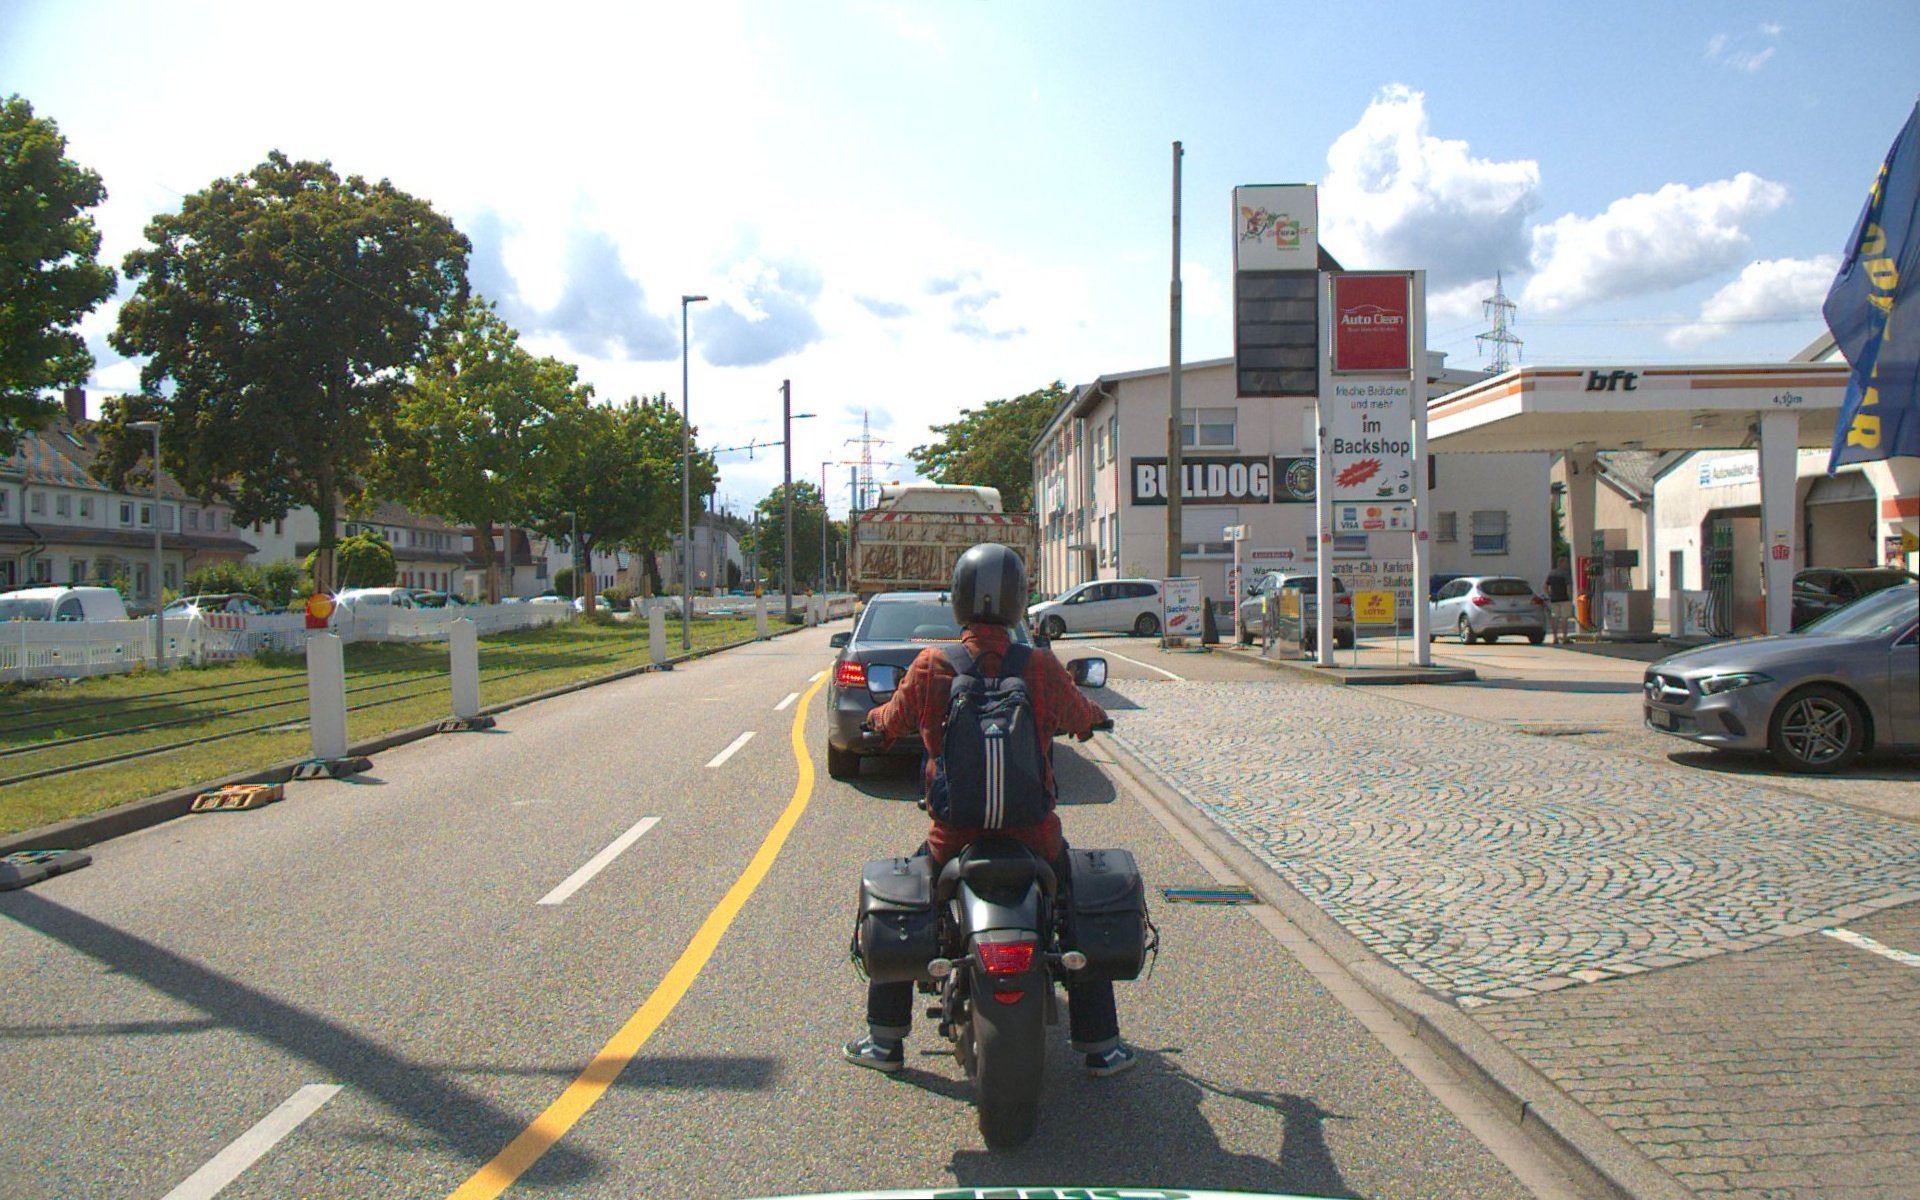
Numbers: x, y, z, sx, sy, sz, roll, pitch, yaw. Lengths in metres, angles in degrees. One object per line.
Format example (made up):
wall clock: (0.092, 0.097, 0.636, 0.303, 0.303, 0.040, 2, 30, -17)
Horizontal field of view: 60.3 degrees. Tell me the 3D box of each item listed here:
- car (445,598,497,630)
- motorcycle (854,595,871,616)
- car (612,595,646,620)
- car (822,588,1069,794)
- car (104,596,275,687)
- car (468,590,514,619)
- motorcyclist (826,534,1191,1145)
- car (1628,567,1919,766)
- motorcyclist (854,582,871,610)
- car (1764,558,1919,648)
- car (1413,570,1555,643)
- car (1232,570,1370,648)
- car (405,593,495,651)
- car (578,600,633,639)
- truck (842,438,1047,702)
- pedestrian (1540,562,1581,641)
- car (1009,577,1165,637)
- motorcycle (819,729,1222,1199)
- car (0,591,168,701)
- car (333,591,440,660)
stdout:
car: (-28.304, 0.778, 95.826, 1.740, 1.753, 4.127, -1, 0, -1)
motorcycle: (-5.035, 0.282, 85.109, 0.851, 1.039, 2.243, -1, 0, -3)
car: (-24.971, 0.548, 124.843, 1.740, 1.753, 4.127, -1, 0, -1)
car: (-0.132, 0.655, 14.135, 1.786, 1.478, 3.999, 1, 0, -1)
car: (-16.671, 0.853, 36.018, 1.740, 1.805, 4.227, -1, 0, -1)
car: (-29.431, 0.275, 103.943, 1.740, 1.753, 4.127, -1, 0, -1)
motorcyclist: (0.126, 0.641, 5.012, 0.959, 1.630, 1.087, -1, 0, -1)
car: (7.589, 0.458, 12.797, 4.181, 1.440, 1.675, -1, 0, 7)
motorcyclist: (-5.048, -0.198, 85.285, 0.851, 1.402, 0.800, -1, 0, -4)
car: (16.620, 0.023, 30.317, 1.770, 1.529, 3.832, -1, 0, -3)
car: (11.723, 0.118, 37.262, 1.770, 1.529, 3.831, -1, 0, -3)
car: (7.459, 0.175, 36.626, 1.636, 1.589, 4.236, -1, 0, -8)
car: (-16.972, 0.699, 55.253, 1.740, 1.837, 4.127, -1, 0, -1)
car: (-17.058, 0.909, 79.677, 1.740, 1.753, 4.127, -1, 0, -1)
truck: (-0.261, -0.424, 25.360, 2.585, 3.354, 8.054, -1, 0, -1)
pedestrian: (12.955, 0.029, 35.708, 0.696, 1.685, 0.546, -1, 0, 35)
car: (3.581, 0.183, 47.072, 4.152, 1.570, 1.669, -1, 0, -9)
motorcycle: (0.128, 0.995, 5.318, 0.959, 0.913, 2.653, -1, 0, -1)
car: (-16.463, 0.784, 30.381, 1.740, 1.853, 4.363, -1, 0, -1)
car: (-16.940, 0.715, 49.075, 1.740, 1.900, 4.127, -1, 0, -1)
